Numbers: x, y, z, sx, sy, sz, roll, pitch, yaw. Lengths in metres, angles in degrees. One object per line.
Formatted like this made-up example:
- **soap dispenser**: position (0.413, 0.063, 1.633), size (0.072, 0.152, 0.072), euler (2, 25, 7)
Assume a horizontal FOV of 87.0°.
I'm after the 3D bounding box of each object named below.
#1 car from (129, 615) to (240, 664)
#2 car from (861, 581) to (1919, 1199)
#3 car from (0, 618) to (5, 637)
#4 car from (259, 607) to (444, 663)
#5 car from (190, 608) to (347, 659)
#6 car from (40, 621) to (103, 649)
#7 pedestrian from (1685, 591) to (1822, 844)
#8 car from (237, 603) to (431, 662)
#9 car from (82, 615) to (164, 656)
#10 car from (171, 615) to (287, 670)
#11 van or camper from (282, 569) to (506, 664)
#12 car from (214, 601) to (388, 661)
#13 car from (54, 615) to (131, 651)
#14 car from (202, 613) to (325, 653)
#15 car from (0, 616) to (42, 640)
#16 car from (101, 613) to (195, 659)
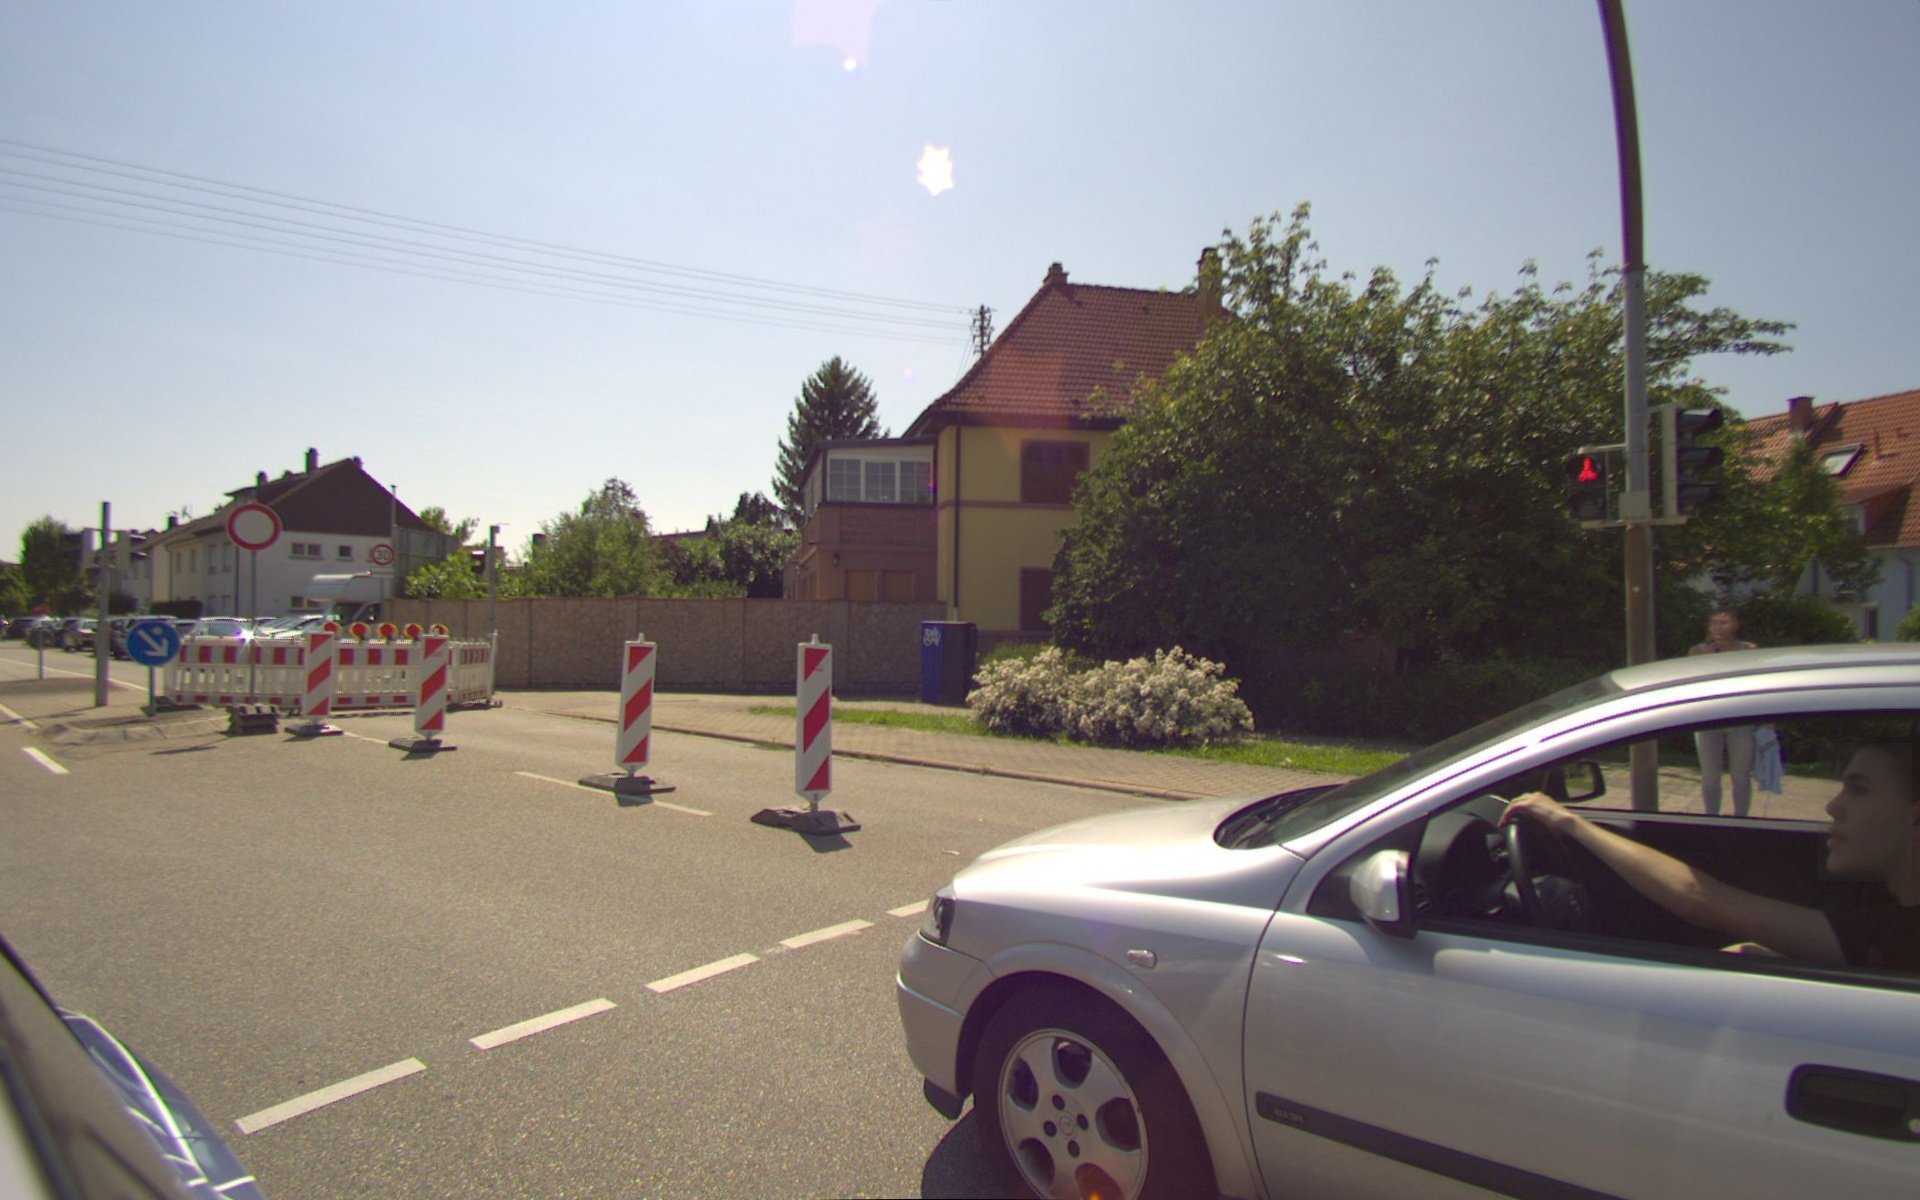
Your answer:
- **car**: position (-25.745, 1.293, 33.550), size (4.504, 1.511, 1.928), euler (-1, -3, 39)
- **car**: position (1.813, 0.696, 1.932), size (3.975, 1.414, 1.682), euler (-1, -2, 39)
- **car**: position (-75.784, 2.119, 78.736), size (3.913, 1.428, 1.717), euler (-1, -2, 39)
- **car**: position (-20.804, 1.176, 34.819), size (2.125, 1.782, 5.060), euler (-1, -1, 32)
- **car**: position (-27.147, 1.288, 39.896), size (1.996, 1.878, 4.720), euler (-1, -2, 35)
- **car**: position (-44.811, 1.745, 51.026), size (3.913, 1.328, 1.717), euler (-1, -3, 39)
- **pedestrian**: position (5.475, 0.762, 6.982), size (0.688, 1.620, 0.608), euler (-1, 1, 42)
- **car**: position (-22.875, 1.166, 37.245), size (2.126, 2.017, 5.716), euler (-1, -1, 34)
- **car**: position (-33.938, 1.425, 41.007), size (4.175, 1.559, 1.839), euler (-1, -3, 41)
- **car**: position (-21.690, 1.231, 29.959), size (4.509, 1.511, 1.926), euler (-1, -3, 43)
- **van or camper**: position (-18.607, 0.561, 33.690), size (2.283, 2.866, 6.194), euler (-1, -1, 32)
- **car**: position (-25.008, 1.151, 38.607), size (2.207, 2.103, 5.121), euler (-1, -1, 34)
- **car**: position (-39.343, 1.492, 45.861), size (4.541, 1.559, 1.839), euler (-1, -3, 39)
- **car**: position (-29.724, 1.385, 43.272), size (1.764, 1.628, 3.953), euler (-1, -2, 35)
- **car**: position (-61.168, 1.791, 65.711), size (3.913, 1.525, 1.717), euler (-1, -2, 39)
- **car**: position (-30.115, 1.335, 37.501), size (4.224, 1.603, 1.839), euler (-1, -3, 39)
